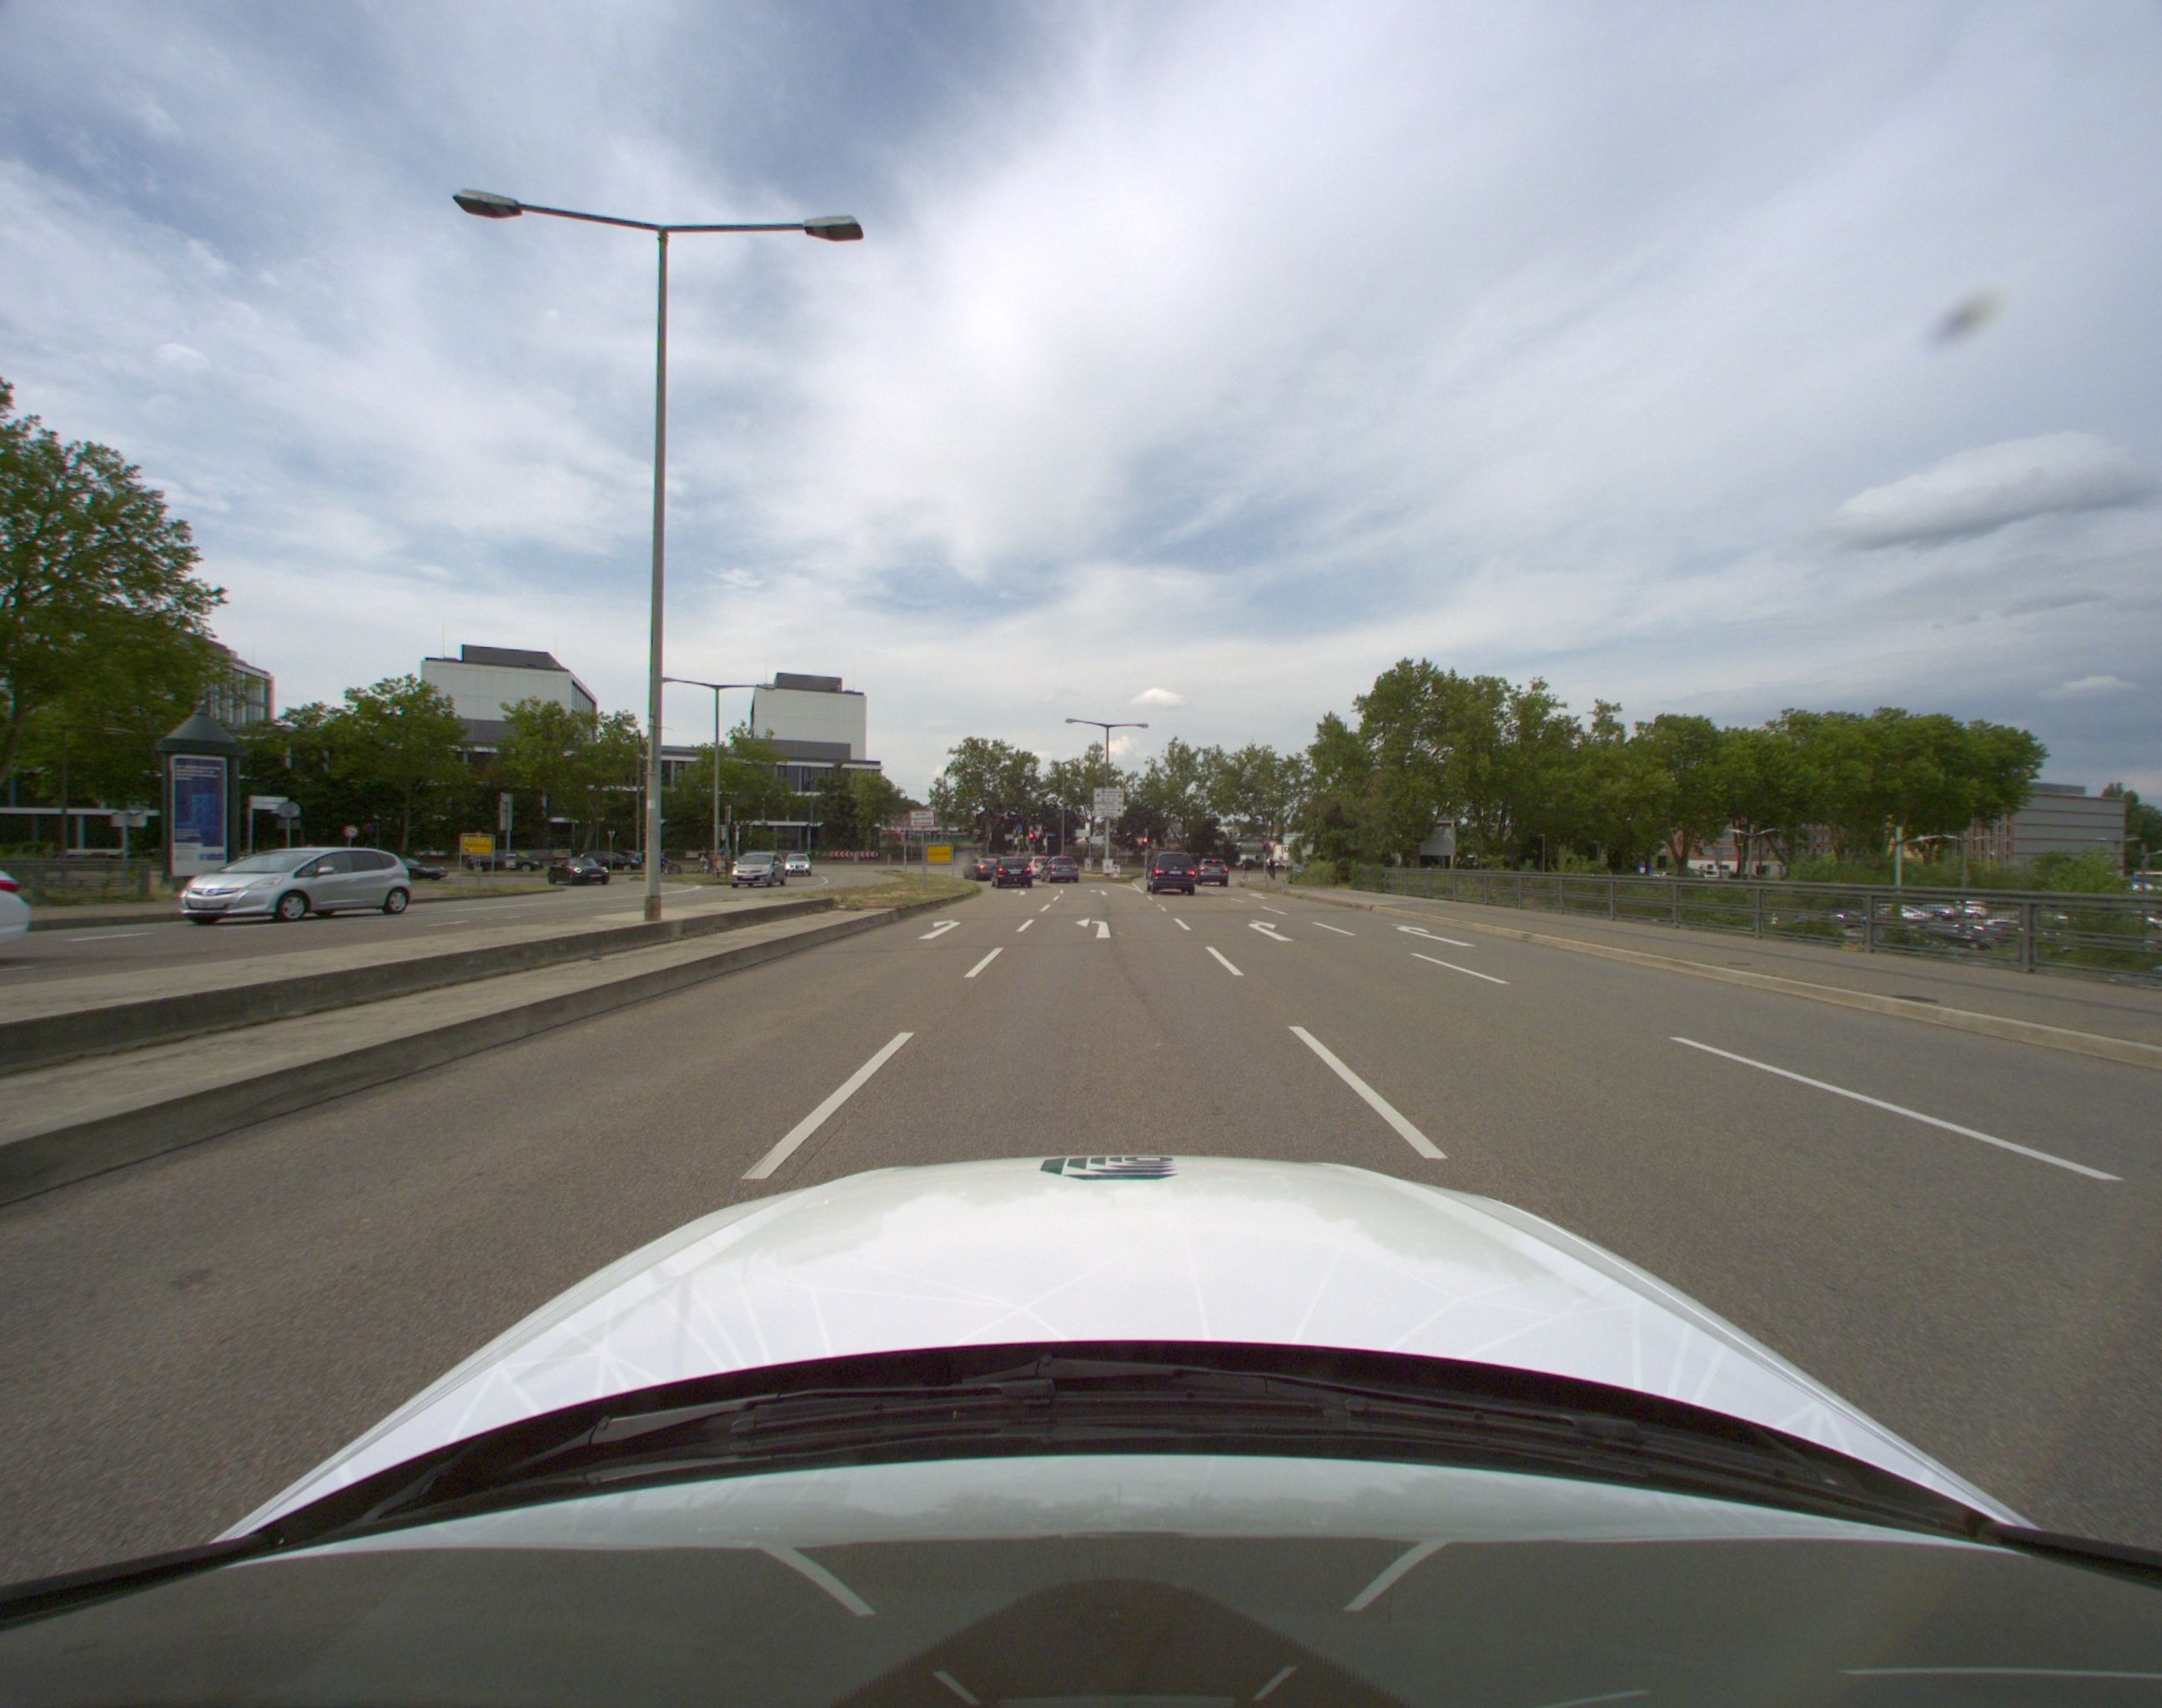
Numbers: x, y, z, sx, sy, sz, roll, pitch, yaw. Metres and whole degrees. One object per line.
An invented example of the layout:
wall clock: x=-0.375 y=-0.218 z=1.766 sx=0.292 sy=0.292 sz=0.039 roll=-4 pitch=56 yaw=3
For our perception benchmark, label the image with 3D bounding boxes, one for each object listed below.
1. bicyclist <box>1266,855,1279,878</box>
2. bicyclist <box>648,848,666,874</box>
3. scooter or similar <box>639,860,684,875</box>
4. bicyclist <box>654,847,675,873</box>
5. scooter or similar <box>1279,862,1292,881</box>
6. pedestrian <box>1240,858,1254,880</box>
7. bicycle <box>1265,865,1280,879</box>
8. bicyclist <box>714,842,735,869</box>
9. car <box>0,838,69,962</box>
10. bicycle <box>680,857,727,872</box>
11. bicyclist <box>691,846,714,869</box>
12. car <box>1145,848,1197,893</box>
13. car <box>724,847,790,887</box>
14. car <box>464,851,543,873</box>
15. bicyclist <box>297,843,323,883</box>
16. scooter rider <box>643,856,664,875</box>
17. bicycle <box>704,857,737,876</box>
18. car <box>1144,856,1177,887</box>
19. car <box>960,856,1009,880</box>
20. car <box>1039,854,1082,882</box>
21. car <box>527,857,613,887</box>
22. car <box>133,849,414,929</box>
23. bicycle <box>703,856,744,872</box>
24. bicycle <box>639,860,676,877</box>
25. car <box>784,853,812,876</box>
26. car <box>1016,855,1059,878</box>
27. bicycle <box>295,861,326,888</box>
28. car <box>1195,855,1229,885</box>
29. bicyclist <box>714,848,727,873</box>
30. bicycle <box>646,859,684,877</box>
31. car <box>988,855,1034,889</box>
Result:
bicyclist: x=14.029 y=0.896 z=59.605 sx=0.806 sy=1.696 sz=1.118 roll=0 pitch=0 yaw=7
bicyclist: x=-25.755 y=0.425 z=49.458 sx=0.845 sy=1.529 sz=0.621 roll=0 pitch=0 yaw=-41
scooter or similar: x=-26.397 y=0.838 z=51.250 sx=0.798 sy=0.849 sz=2.401 roll=1 pitch=1 yaw=42
bicyclist: x=-24.942 y=0.377 z=48.813 sx=1.024 sy=1.539 sz=0.621 roll=0 pitch=0 yaw=-37
scooter or similar: x=12.915 y=1.107 z=51.436 sx=0.396 sy=1.183 sz=1.278 roll=0 pitch=-1 yaw=-5
pedestrian: x=13.168 y=1.166 z=64.545 sx=1.040 sy=1.710 sz=0.856 roll=1 pitch=0 yaw=12
bicycle: x=14.009 y=1.306 z=59.582 sx=0.805 sy=0.952 sz=2.239 roll=0 pitch=0 yaw=7
bicyclist: x=-21.916 y=0.109 z=50.077 sx=0.801 sy=1.656 sz=0.889 roll=0 pitch=0 yaw=35
car: x=-13.347 y=0.565 z=7.471 sx=1.911 sy=1.415 sz=4.883 roll=-1 pitch=1 yaw=2
bicycle: x=-23.716 y=0.655 z=51.212 sx=2.607 sy=0.890 sz=0.696 roll=0 pitch=1 yaw=-45
bicyclist: x=-23.766 y=0.219 z=51.157 sx=1.124 sy=1.436 sz=0.640 roll=-1 pitch=1 yaw=-45
car: x=3.733 y=0.675 z=34.322 sx=1.744 sy=1.725 sz=4.138 roll=2 pitch=-1 yaw=1
car: x=-14.302 y=0.579 z=36.193 sx=1.740 sy=1.658 sz=4.068 roll=-1 pitch=-1 yaw=-7
car: x=-38.899 y=0.536 z=54.992 sx=4.075 sy=1.450 sz=1.689 roll=0 pitch=0 yaw=-24
bicyclist: x=-32.127 y=0.363 z=33.935 sx=0.836 sy=1.672 sz=0.690 roll=0 pitch=0 yaw=40
scooter rider: x=-26.715 y=0.691 z=50.897 sx=0.798 sy=1.137 sz=0.922 roll=1 pitch=1 yaw=42
bicycle: x=-23.426 y=0.812 z=52.932 sx=1.911 sy=1.210 sz=0.637 roll=0 pitch=0 yaw=-26
car: x=4.536 y=0.972 z=46.134 sx=1.682 sy=1.585 sz=4.163 roll=2 pitch=-1 yaw=6
car: x=-6.059 y=0.841 z=50.639 sx=1.826 sy=1.414 sz=4.741 roll=1 pitch=0 yaw=-22
car: x=-1.258 y=0.805 z=48.287 sx=1.743 sy=1.546 sz=4.063 roll=0 pitch=0 yaw=-13
car: x=-25.635 y=0.904 z=40.860 sx=3.829 sy=1.410 sz=1.757 roll=-1 pitch=-1 yaw=23
car: x=-16.157 y=0.642 z=16.652 sx=1.804 sy=1.415 sz=4.026 roll=0 pitch=0 yaw=-2
bicycle: x=-21.952 y=0.603 z=50.032 sx=0.801 sy=0.952 sz=2.249 roll=0 pitch=0 yaw=35
bicycle: x=-25.721 y=0.870 z=49.487 sx=1.917 sy=1.013 sz=0.621 roll=0 pitch=1 yaw=-41
car: x=-18.048 y=0.667 z=51.923 sx=1.622 sy=1.410 sz=3.834 roll=-1 pitch=-1 yaw=-20
car: x=-2.942 y=0.806 z=54.802 sx=1.747 sy=1.482 sz=4.053 roll=0 pitch=0 yaw=-21
bicycle: x=-32.099 y=0.849 z=33.907 sx=1.969 sy=1.053 sz=0.690 roll=1 pitch=0 yaw=40
car: x=7.856 y=0.938 z=49.103 sx=1.741 sy=1.643 sz=4.144 roll=2 pitch=-1 yaw=6
bicyclist: x=-23.429 y=0.405 z=52.914 sx=0.783 sy=1.581 sz=0.649 roll=0 pitch=0 yaw=-26
bicycle: x=-24.930 y=0.837 z=48.835 sx=1.916 sy=1.013 sz=0.621 roll=0 pitch=1 yaw=-37
car: x=-3.583 y=0.864 z=41.133 sx=1.759 sy=1.575 sz=4.019 roll=1 pitch=1 yaw=-13
